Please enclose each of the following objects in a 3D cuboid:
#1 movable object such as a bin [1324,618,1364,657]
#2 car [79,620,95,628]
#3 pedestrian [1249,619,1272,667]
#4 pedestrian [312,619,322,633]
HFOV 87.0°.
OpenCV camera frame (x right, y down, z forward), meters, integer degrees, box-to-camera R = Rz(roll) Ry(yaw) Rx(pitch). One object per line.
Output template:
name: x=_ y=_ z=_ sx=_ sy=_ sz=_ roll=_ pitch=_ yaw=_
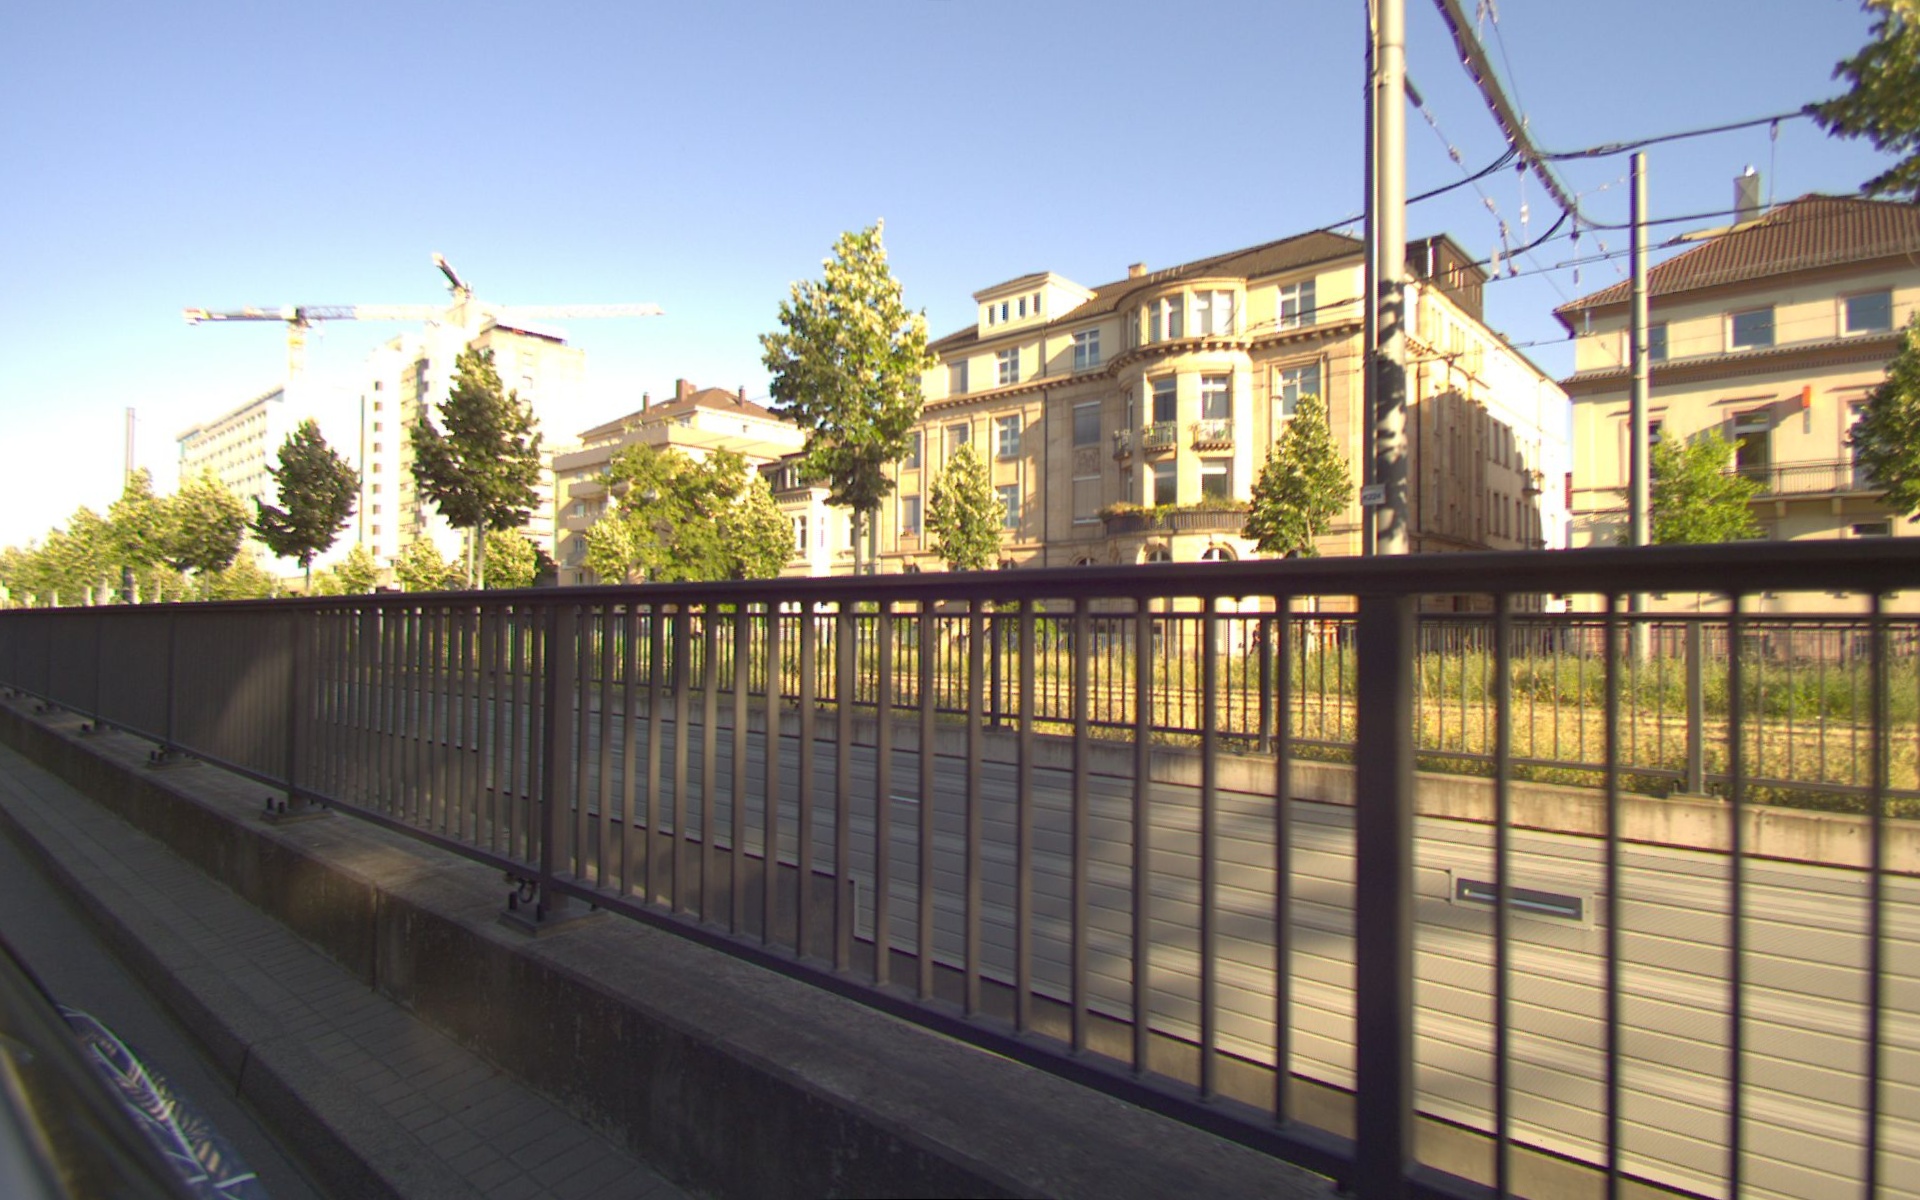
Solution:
movable object such as a bin: x=14.665 y=1.413 z=38.607 sx=1.079 sy=1.440 sz=1.192 roll=-2 pitch=-2 yaw=41
car: x=-168.556 y=4.596 z=195.313 sx=4.660 sy=1.474 sz=1.757 roll=-1 pitch=-1 yaw=41
pedestrian: x=11.057 y=1.565 z=37.248 sx=0.652 sy=1.733 sz=0.549 roll=-1 pitch=-2 yaw=41
pedestrian: x=-78.474 y=3.207 z=123.544 sx=0.882 sy=1.652 sz=0.766 roll=-1 pitch=-2 yaw=41
